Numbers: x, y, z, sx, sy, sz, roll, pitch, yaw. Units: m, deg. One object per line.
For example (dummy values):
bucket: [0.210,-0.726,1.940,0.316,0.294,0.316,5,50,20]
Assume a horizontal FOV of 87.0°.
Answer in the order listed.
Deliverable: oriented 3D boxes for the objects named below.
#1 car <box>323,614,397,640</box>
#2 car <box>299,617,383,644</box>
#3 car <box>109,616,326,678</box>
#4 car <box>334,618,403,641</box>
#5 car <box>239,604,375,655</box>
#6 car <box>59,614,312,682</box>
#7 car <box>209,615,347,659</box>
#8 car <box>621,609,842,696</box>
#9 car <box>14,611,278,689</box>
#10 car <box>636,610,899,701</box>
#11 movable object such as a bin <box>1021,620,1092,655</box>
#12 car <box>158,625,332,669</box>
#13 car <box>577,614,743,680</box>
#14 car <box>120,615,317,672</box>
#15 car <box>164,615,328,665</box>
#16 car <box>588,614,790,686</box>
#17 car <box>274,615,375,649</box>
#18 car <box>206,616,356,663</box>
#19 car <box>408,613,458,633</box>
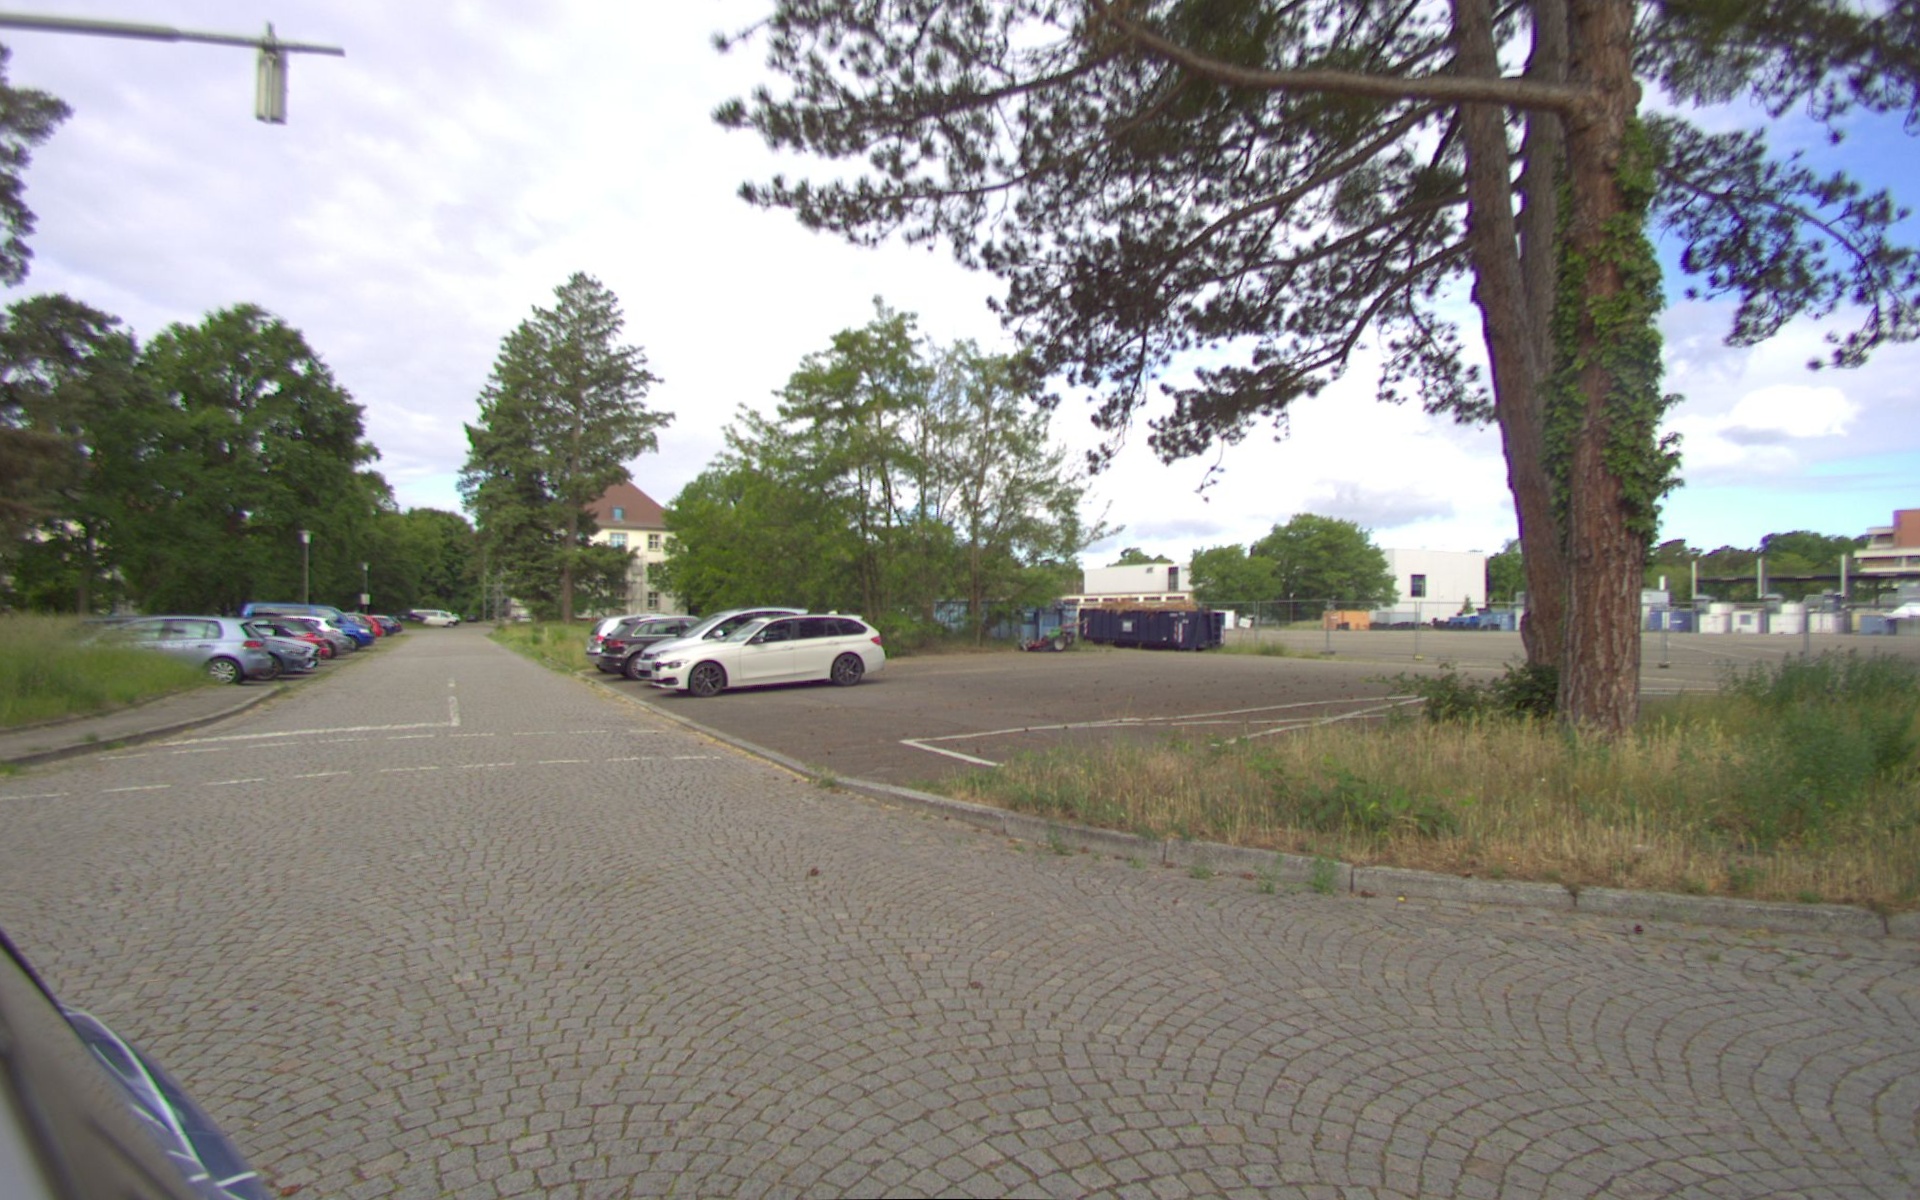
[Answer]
car: [-40.819,1.863,68.933,4.016,1.708,1.732,2,-2,-19]
car: [-36.369,1.798,59.548,4.016,1.455,1.732,2,-2,-25]
car: [-18.898,1.203,25.990,4.177,1.485,1.723,2,-2,-24]
car: [-42.760,2.136,73.218,4.026,1.545,1.732,2,-2,-19]
car: [-27.313,1.256,42.530,4.525,2.021,1.918,2,-1,-25]
car: [-17.753,1.125,23.484,4.366,1.394,1.669,4,-3,-28]
car: [-25.187,1.385,37.513,3.983,1.528,1.606,2,-2,-24]
car: [-4.946,1.068,22.098,4.303,1.610,1.878,-1,0,-32]
car: [-16.716,1.056,21.056,3.944,1.440,1.703,4,-3,-28]
car: [-3.735,1.017,19.840,4.673,1.499,1.872,-1,-1,-29]
movable object such as a bin: [3.205,1.241,33.556,2.229,1.134,0.861,2,-1,-28]
car: [-21.126,1.404,30.103,3.983,1.250,1.554,2,-2,-26]
car: [-7.857,1.181,26.602,3.895,1.481,1.590,-2,0,-30]
car: [-20.370,1.214,28.032,4.114,1.493,1.723,2,-2,-26]
car: [-22.674,1.288,32.324,3.983,1.528,1.606,2,-2,-24]
car: [-6.477,1.140,24.293,4.373,1.435,1.727,-2,0,-29]
car: [-31.563,1.614,50.383,4.016,1.605,1.660,2,-2,-24]
car: [-23.445,1.382,35.107,4.029,1.528,1.706,2,-2,-24]
car: [-61.628,2.676,118.383,5.063,2.166,1.780,2,-2,-30]
